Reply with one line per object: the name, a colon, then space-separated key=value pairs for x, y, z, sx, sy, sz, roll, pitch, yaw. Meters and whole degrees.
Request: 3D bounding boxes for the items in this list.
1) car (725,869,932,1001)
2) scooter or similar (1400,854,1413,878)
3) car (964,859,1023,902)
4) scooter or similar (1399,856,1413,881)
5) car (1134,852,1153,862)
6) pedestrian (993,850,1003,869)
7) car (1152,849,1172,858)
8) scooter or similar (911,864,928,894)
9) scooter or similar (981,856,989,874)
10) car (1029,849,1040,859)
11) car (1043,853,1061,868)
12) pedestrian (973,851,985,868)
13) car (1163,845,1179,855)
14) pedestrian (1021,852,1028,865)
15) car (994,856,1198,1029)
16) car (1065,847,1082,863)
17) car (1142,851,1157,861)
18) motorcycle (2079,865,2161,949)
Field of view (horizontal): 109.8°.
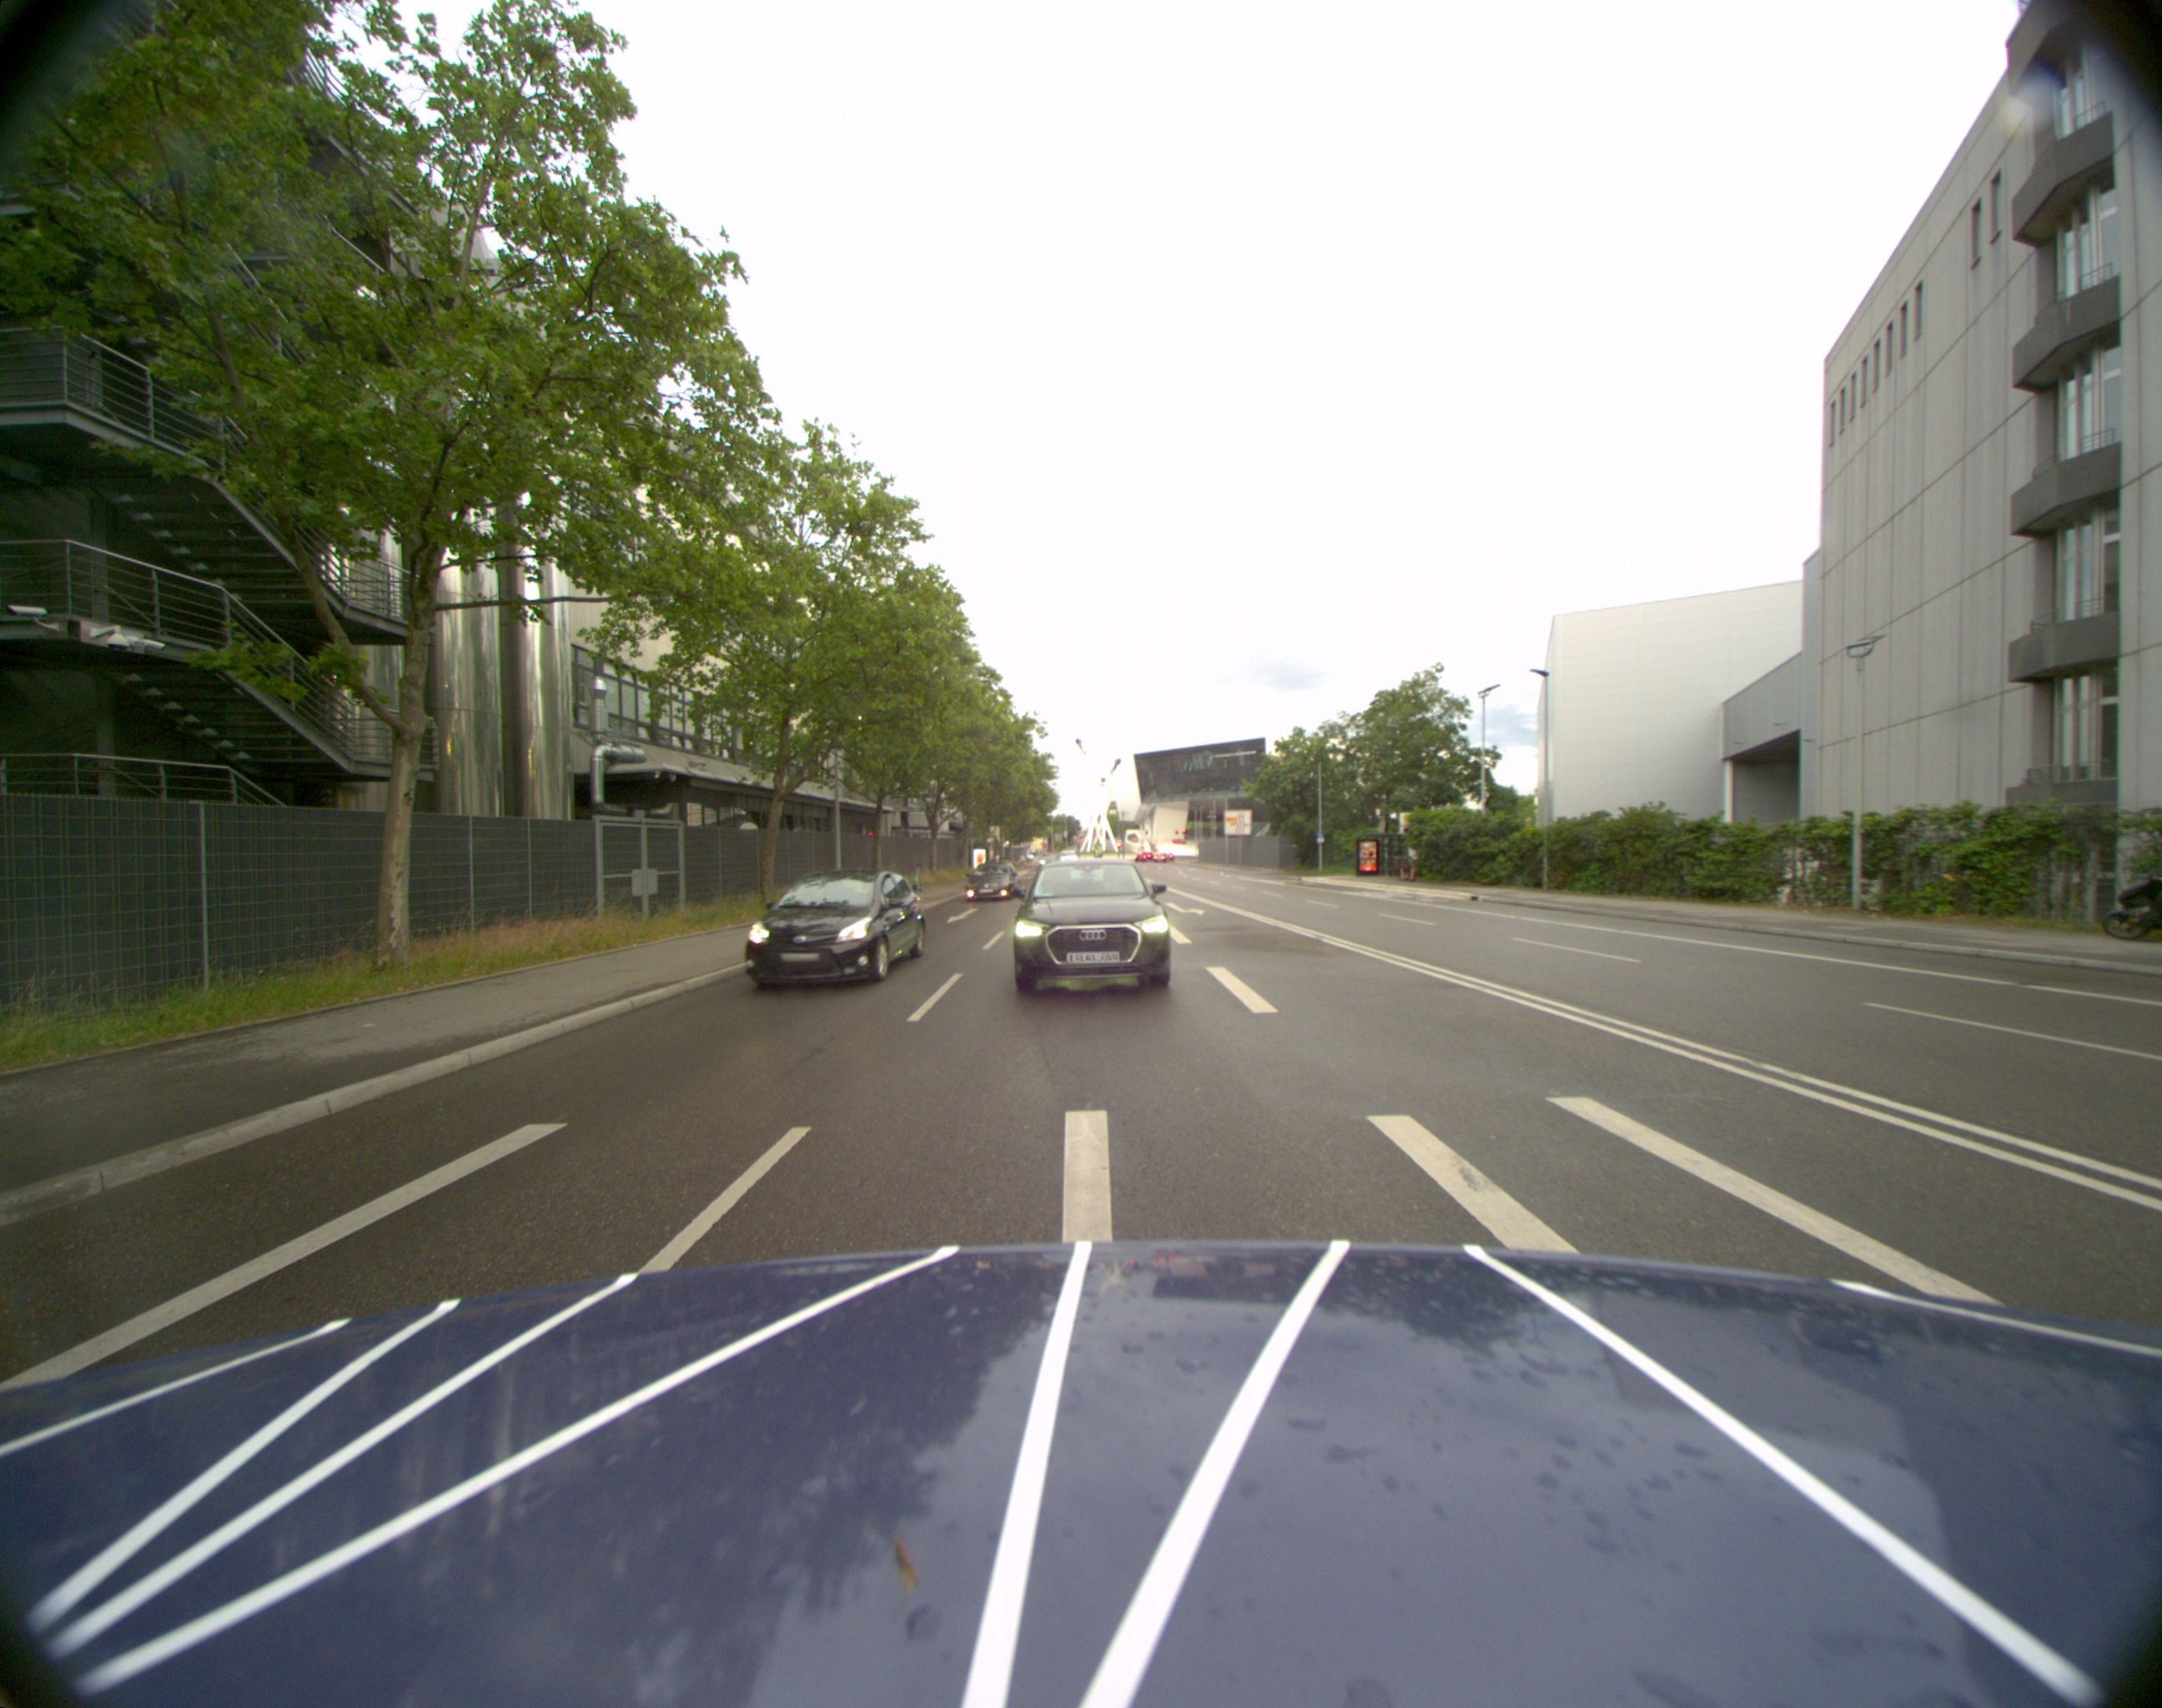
car: x=-3.418 y=1.009 z=11.153 sx=1.881 sy=1.485 sz=4.075 roll=0 pitch=0 yaw=-3
scooter or similar: x=16.440 y=0.611 z=38.408 sx=0.389 sy=1.173 sz=1.251 roll=0 pitch=1 yaw=13
car: x=-3.350 y=0.993 z=30.049 sx=1.842 sy=1.444 sz=4.785 roll=-2 pitch=0 yaw=-1
scooter or similar: x=15.864 y=0.687 z=37.121 sx=0.379 sy=1.174 sz=1.379 roll=0 pitch=1 yaw=13
car: x=10.131 y=0.503 z=122.465 sx=2.255 sy=1.469 sz=3.884 roll=0 pitch=1 yaw=18
pedestrian: x=-7.424 y=0.477 z=67.725 sx=0.778 sy=1.700 sz=0.729 roll=-1 pitch=1 yaw=-1
car: x=12.909 y=-0.091 z=120.830 sx=2.267 sy=1.469 sz=4.052 roll=0 pitch=1 yaw=18
scooter or similar: x=-6.888 y=1.055 z=32.480 sx=0.329 sy=1.262 sz=1.109 roll=-1 pitch=1 yaw=9
scooter or similar: x=-6.968 y=0.790 z=54.988 sx=0.329 sy=1.301 sz=1.246 roll=-1 pitch=1 yaw=4
car: x=-9.044 y=-0.005 z=146.832 sx=1.951 sy=1.767 sz=4.490 roll=0 pitch=0 yaw=-1
car: x=-3.106 y=0.715 z=82.176 sx=1.951 sy=1.610 sz=4.072 roll=0 pitch=0 yaw=-1
pedestrian: x=-8.587 y=0.474 z=64.115 sx=0.933 sy=1.408 sz=0.698 roll=-1 pitch=1 yaw=-1
car: x=15.129 y=-0.610 z=127.462 sx=1.862 sy=1.641 sz=3.792 roll=0 pitch=0 yaw=19
pedestrian: x=-6.853 y=0.540 z=91.902 sx=0.723 sy=1.610 sz=0.833 roll=1 pitch=1 yaw=-1
car: x=0.088 y=0.872 z=10.098 sx=1.951 sy=1.609 sz=5.276 roll=-2 pitch=0 yaw=-1
car: x=-0.931 y=0.130 z=93.563 sx=1.951 sy=1.879 sz=4.490 roll=0 pitch=0 yaw=-1
car: x=11.568 y=0.335 z=128.233 sx=1.878 sy=1.641 sz=3.857 roll=0 pitch=0 yaw=16
motorcycle: x=16.732 y=0.816 z=11.351 sx=0.786 sy=1.243 sz=2.157 roll=-1 pitch=1 yaw=0
